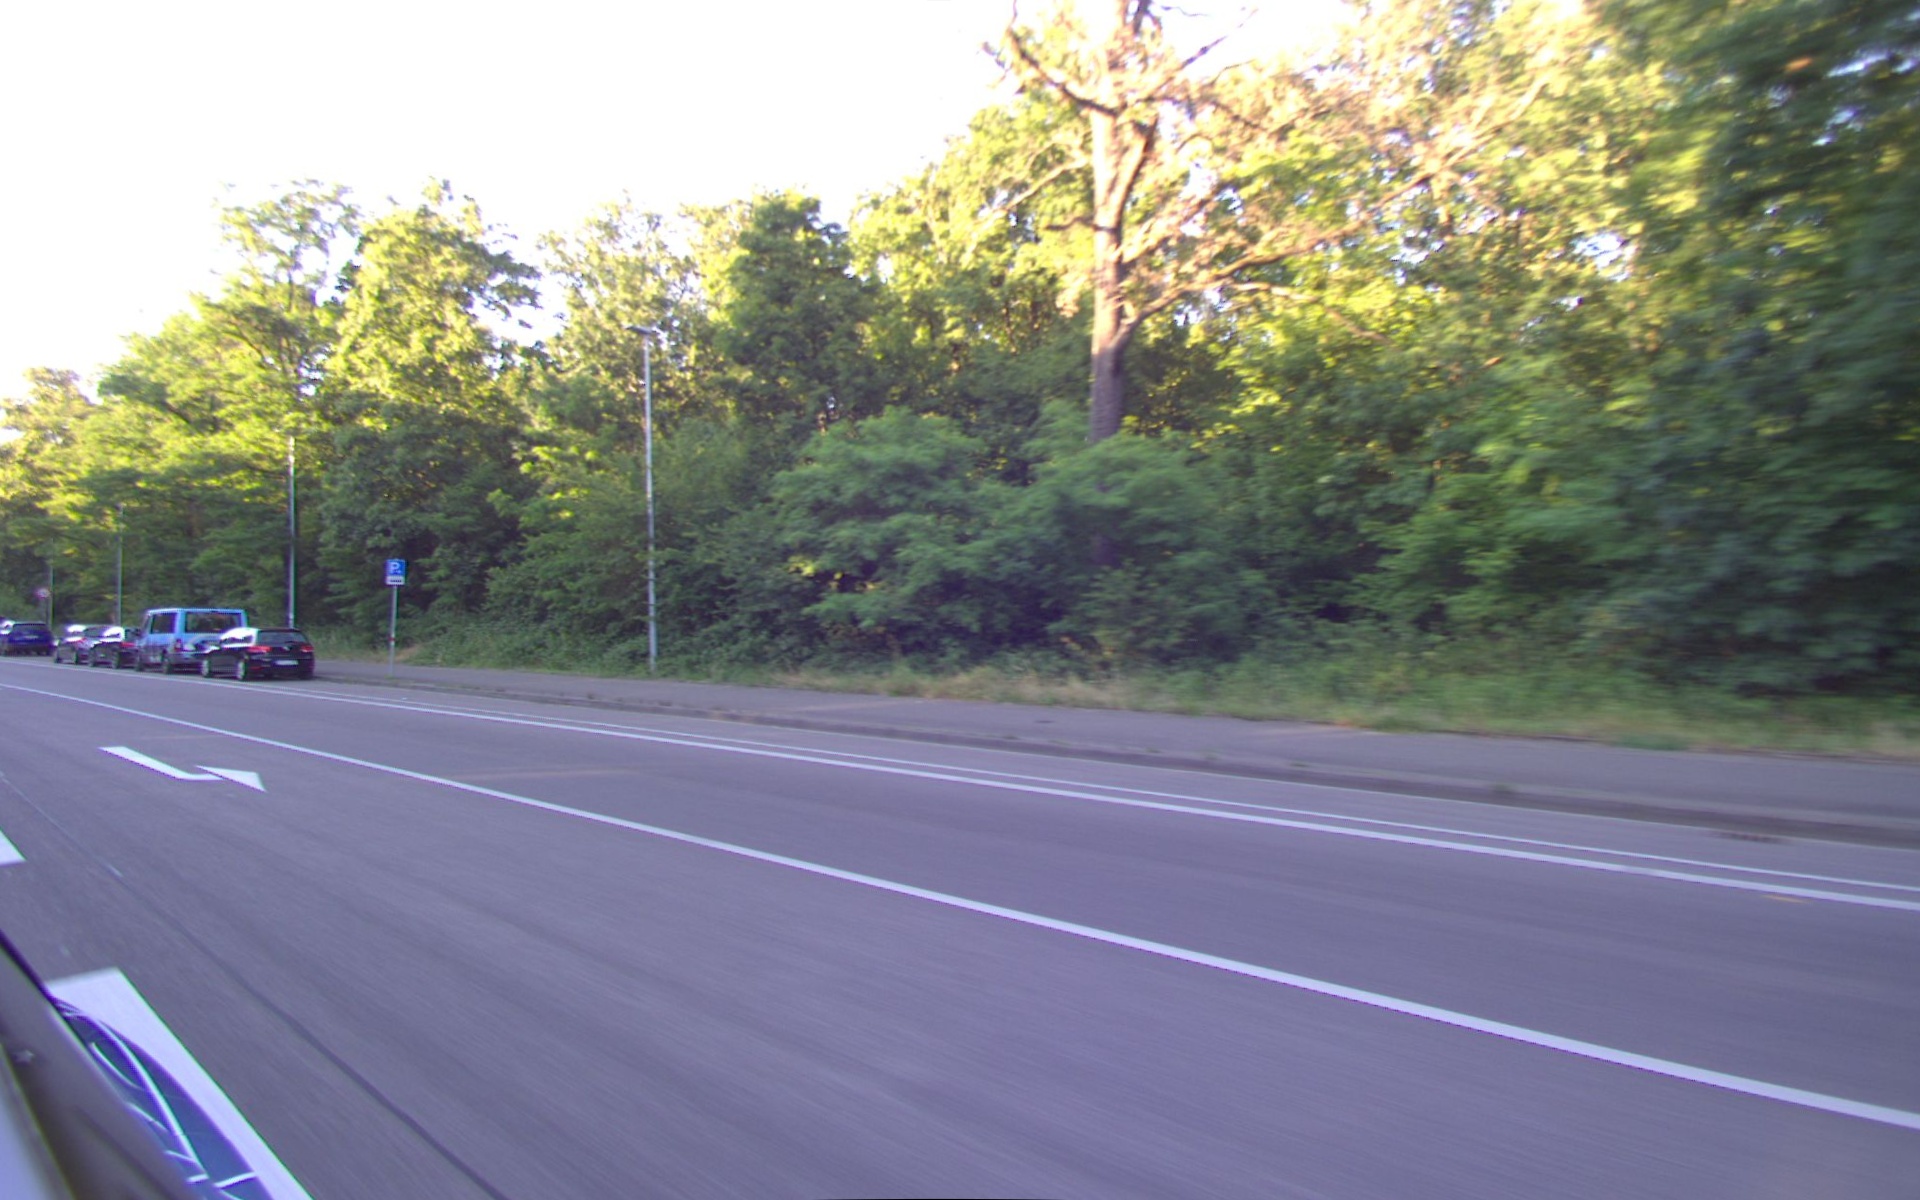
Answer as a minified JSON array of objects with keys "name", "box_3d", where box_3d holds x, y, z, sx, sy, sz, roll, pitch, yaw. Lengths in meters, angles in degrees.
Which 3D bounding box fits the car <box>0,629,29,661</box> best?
[{"name":"car","box_3d":[-47.906,2.232,50.373,4.242,1.513,1.652,-2,-3,39]}]

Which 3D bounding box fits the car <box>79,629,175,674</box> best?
[{"name":"car","box_3d":[-29.148,1.776,35.382,3.962,1.505,1.529,-1,-3,35]}]

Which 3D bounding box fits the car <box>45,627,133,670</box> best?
[{"name":"car","box_3d":[-33.104,1.823,38.432,4.032,1.546,1.602,-1,-3,36]}]

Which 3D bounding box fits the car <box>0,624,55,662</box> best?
[{"name":"car","box_3d":[-43.922,2.005,47.289,4.518,1.725,1.727,-2,-3,39]}]

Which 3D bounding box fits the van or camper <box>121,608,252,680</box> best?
[{"name":"van or camper","box_3d":[-24.533,1.389,32.056,5.006,2.110,2.012,-1,-3,37]}]

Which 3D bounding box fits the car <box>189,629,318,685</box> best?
[{"name":"car","box_3d":[-20.024,1.581,28.639,4.234,1.473,1.672,-1,-3,36]}]

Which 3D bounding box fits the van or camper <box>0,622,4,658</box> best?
[{"name":"van or camper","box_3d":[-55.634,2.224,56.858,5.455,2.033,1.982,-2,-4,39]}]
